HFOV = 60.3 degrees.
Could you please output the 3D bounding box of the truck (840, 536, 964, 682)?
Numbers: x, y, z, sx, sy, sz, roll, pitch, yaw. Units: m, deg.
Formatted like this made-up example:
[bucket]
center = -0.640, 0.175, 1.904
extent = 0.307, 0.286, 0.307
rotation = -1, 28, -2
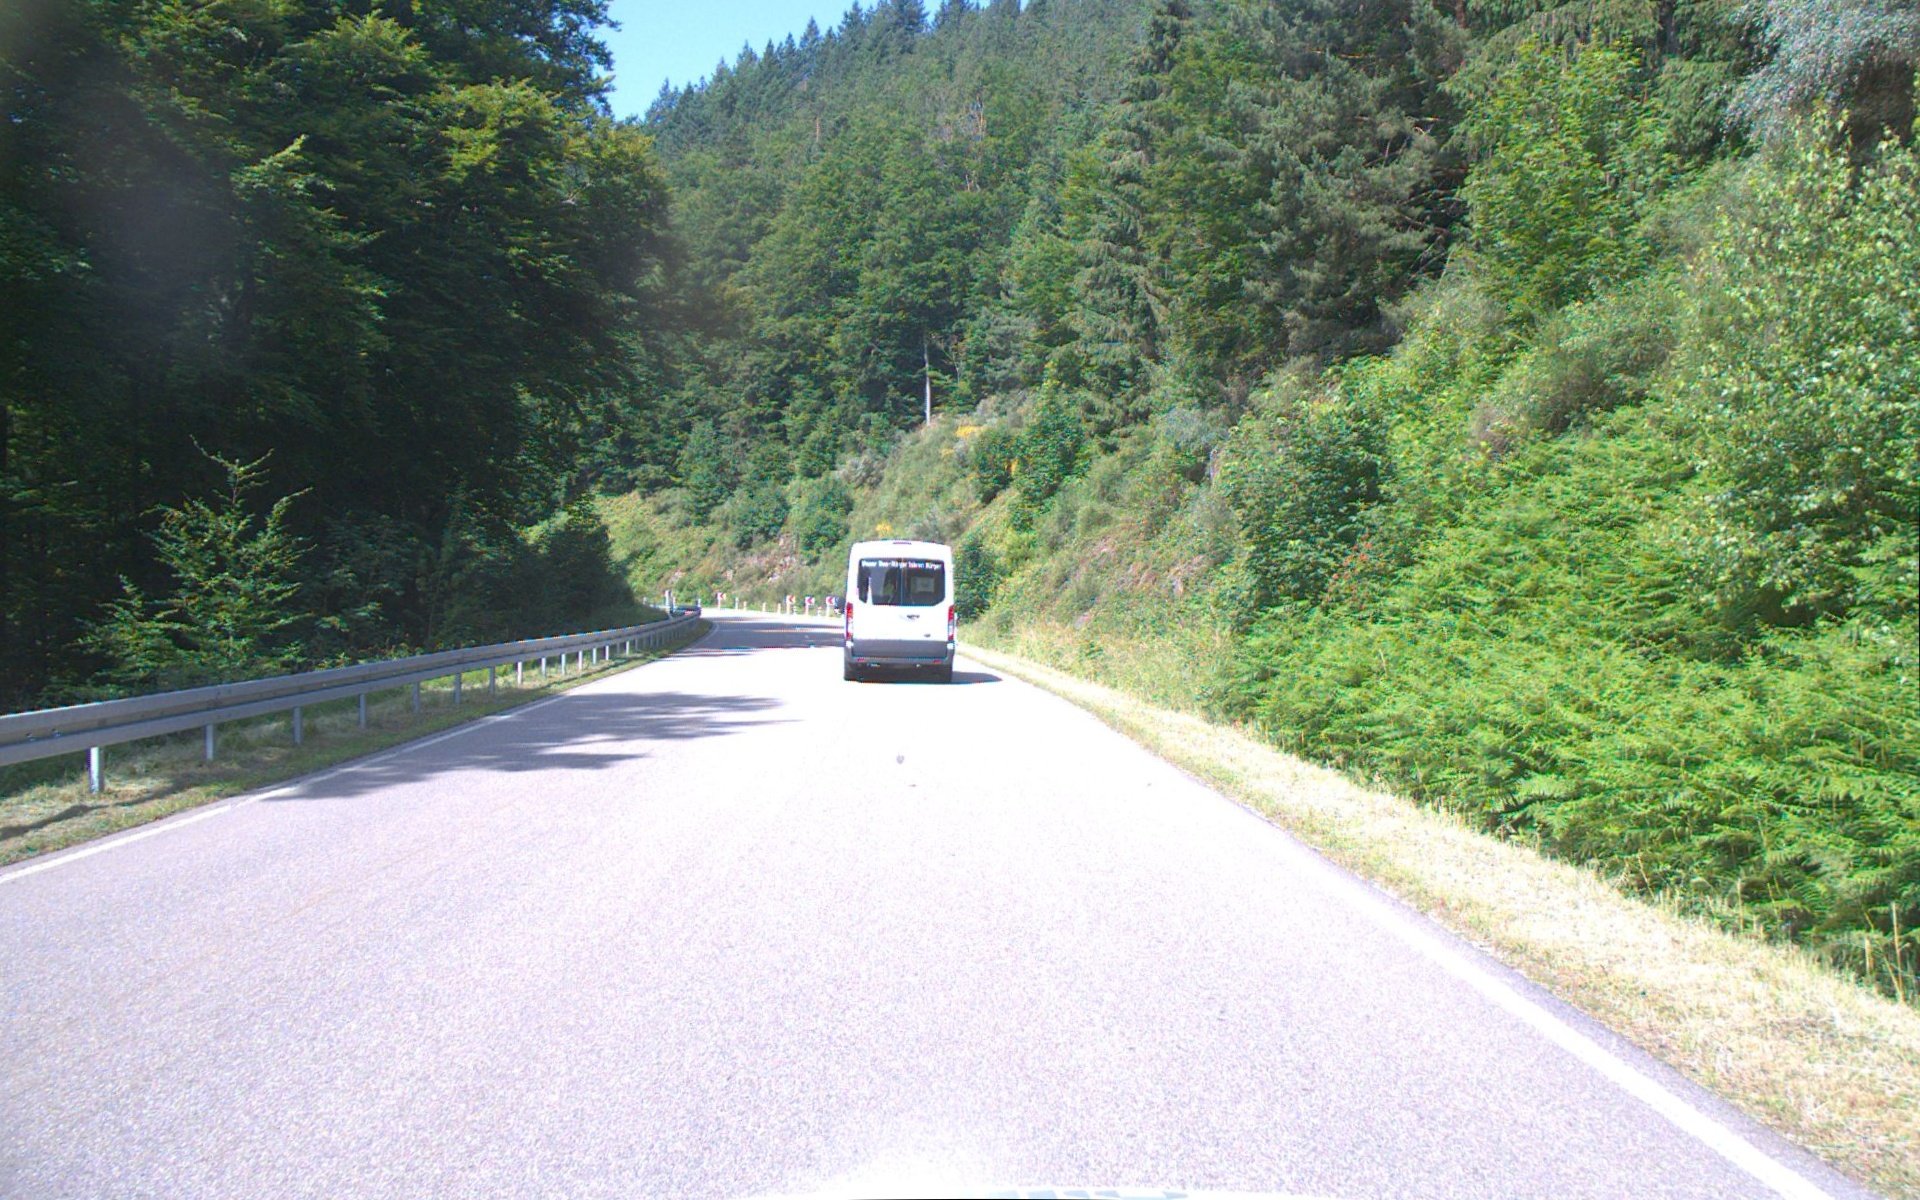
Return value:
[truck]
center = -1.173, 0.164, 31.111
extent = 2.043, 2.503, 4.869
rotation = 1, 0, -5
